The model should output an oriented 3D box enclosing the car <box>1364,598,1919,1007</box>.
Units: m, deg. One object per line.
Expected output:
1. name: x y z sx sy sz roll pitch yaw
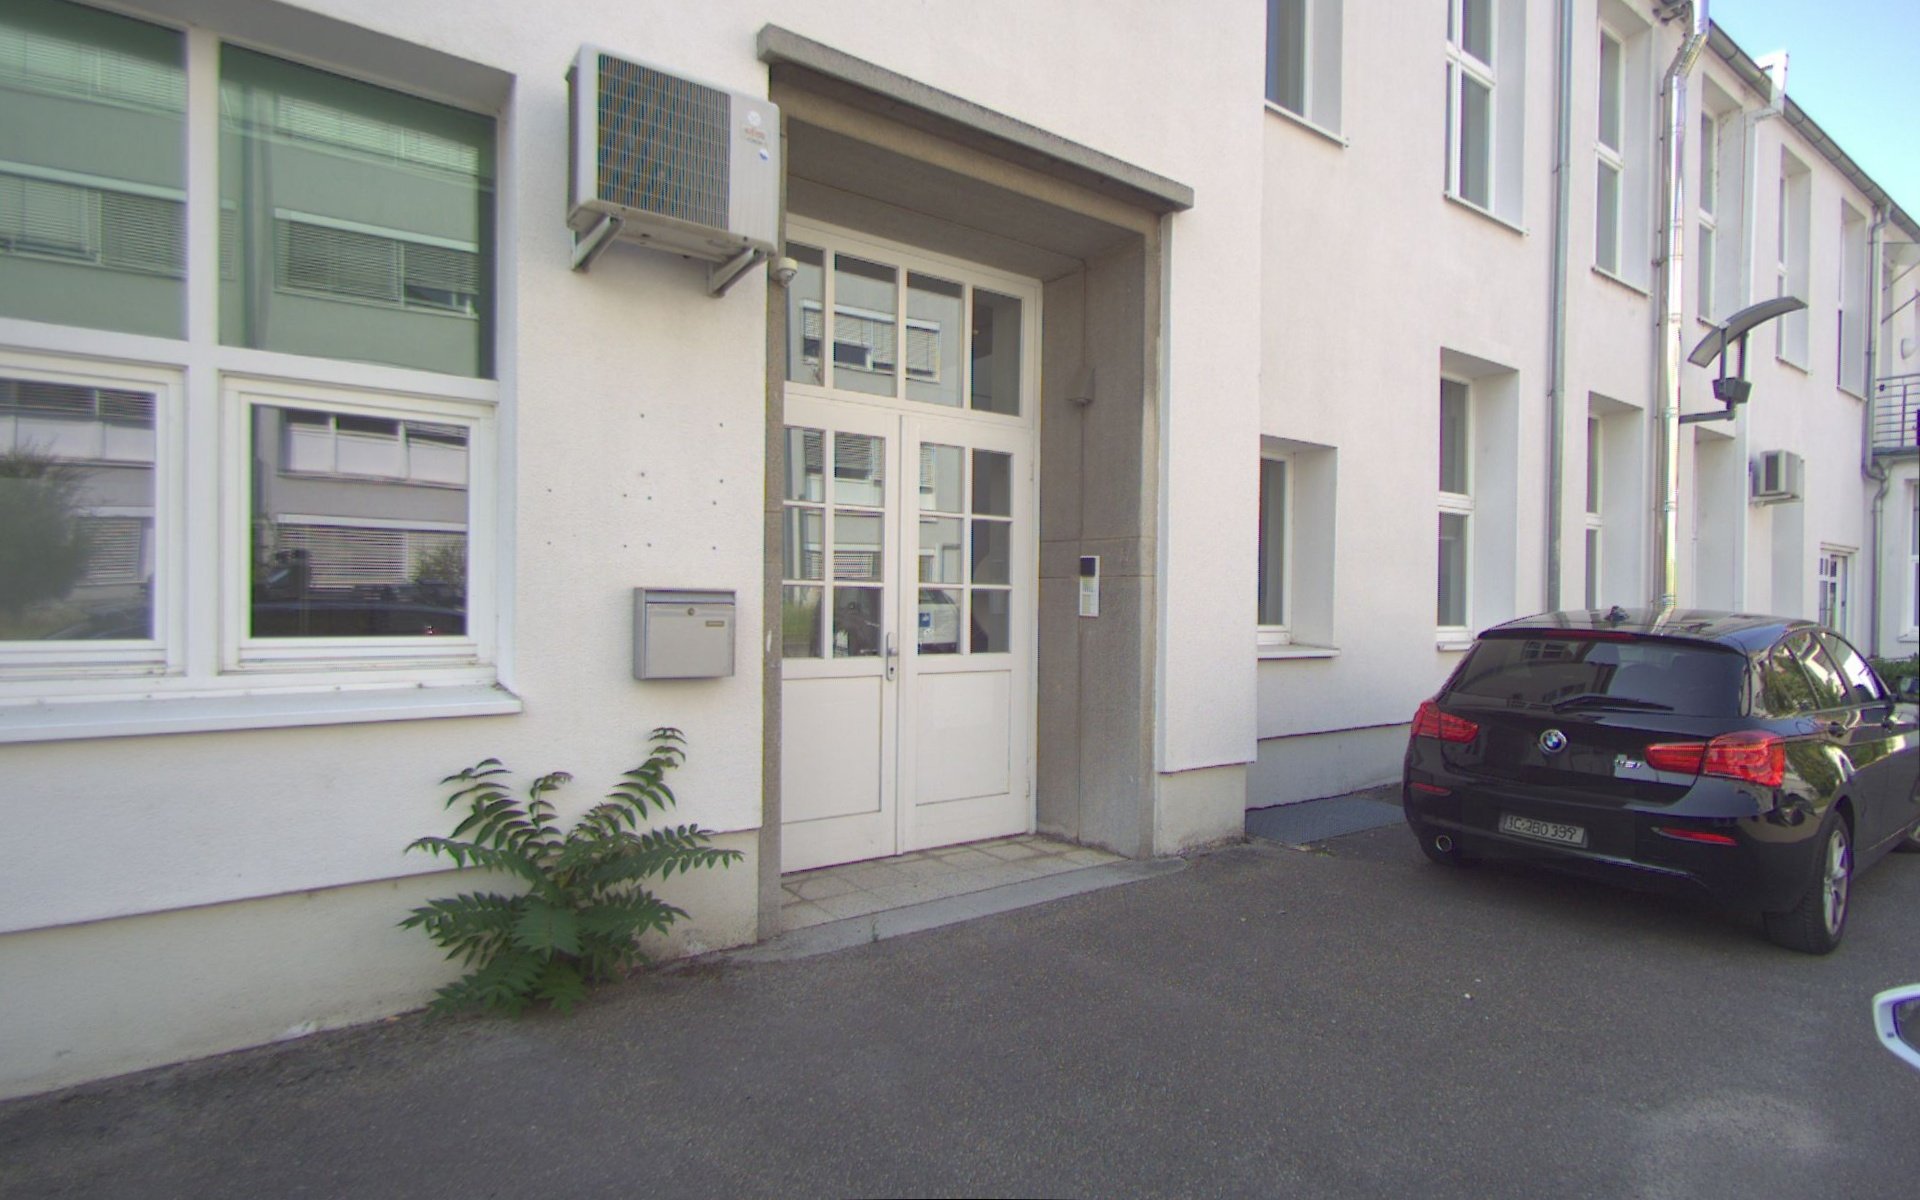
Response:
1. car: 4.062 0.775 5.528 3.887 1.478 1.675 1 0 -38
